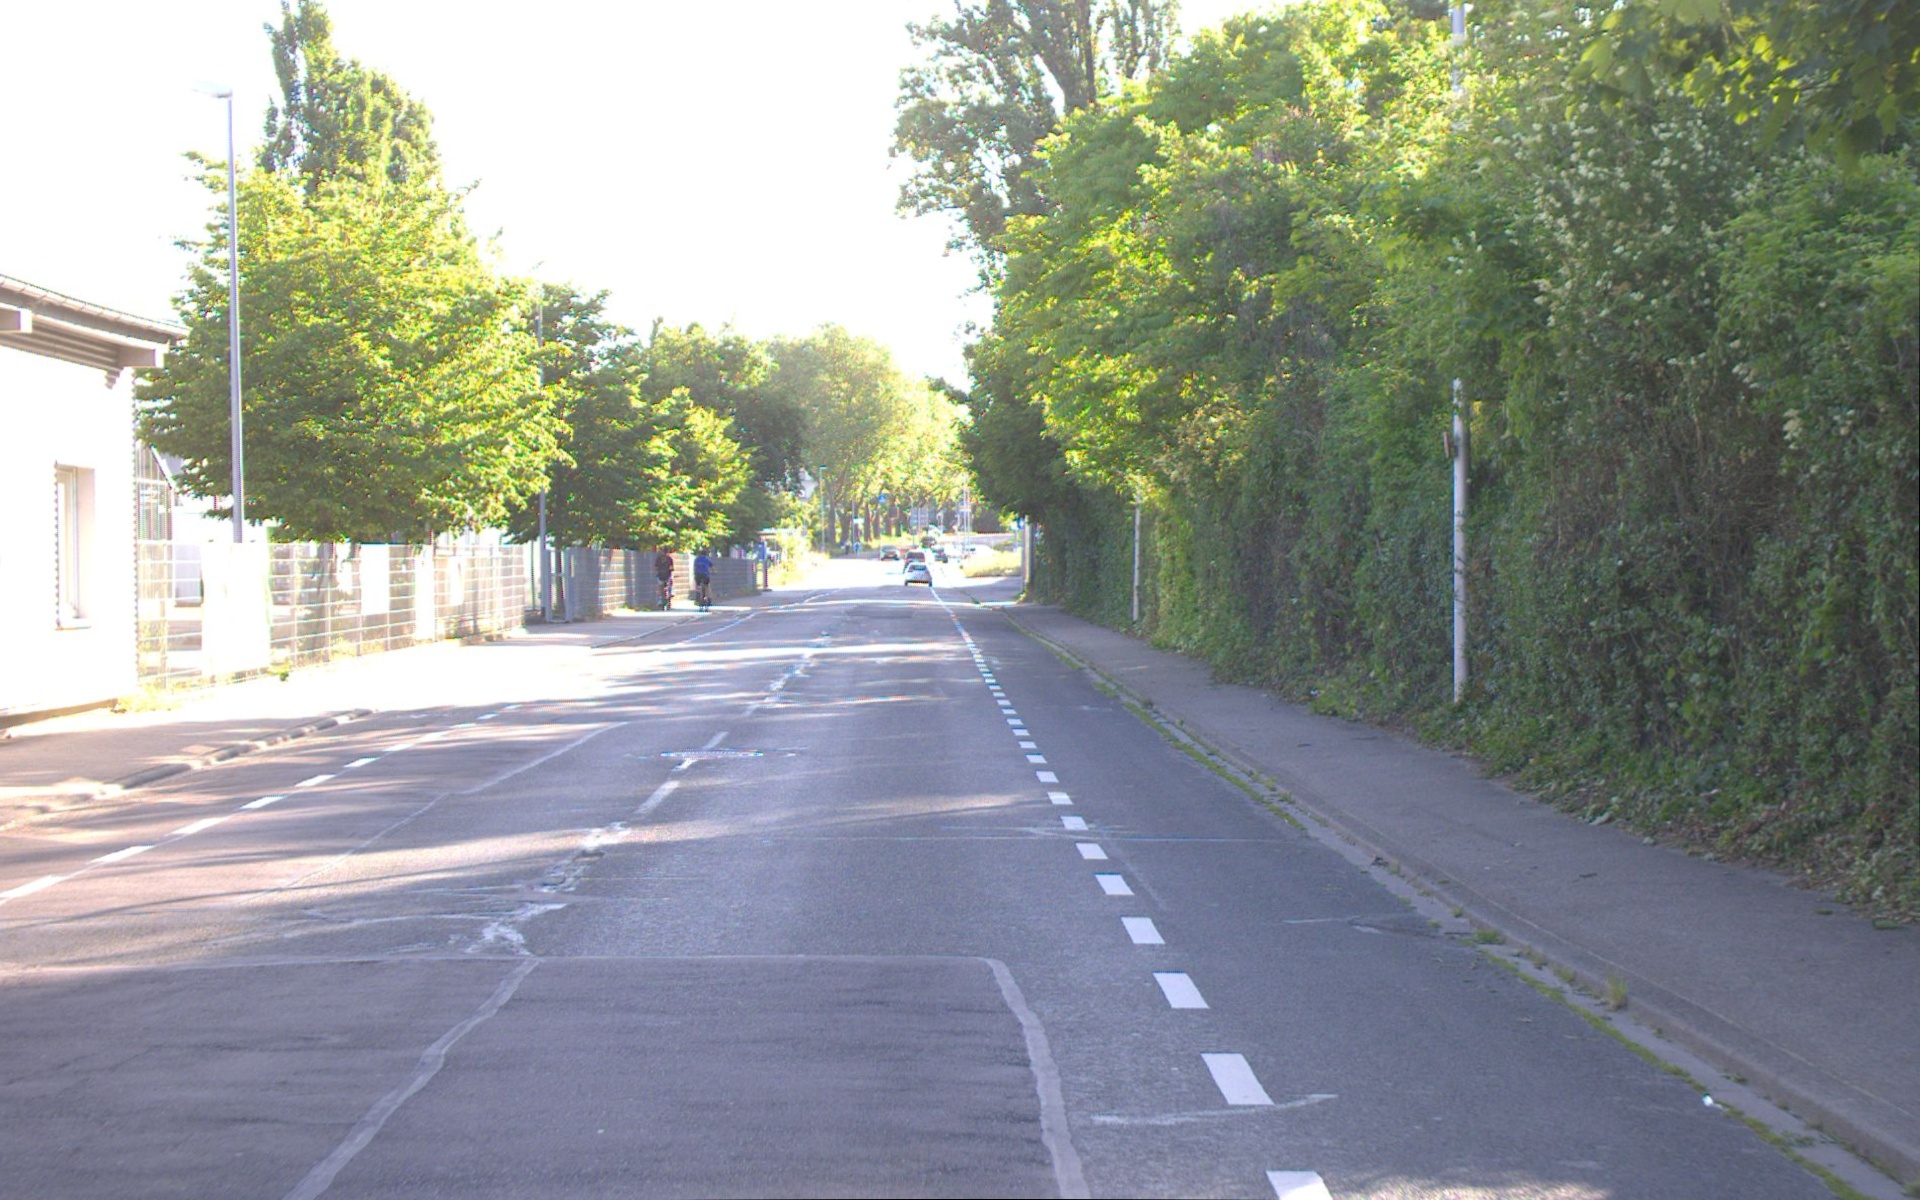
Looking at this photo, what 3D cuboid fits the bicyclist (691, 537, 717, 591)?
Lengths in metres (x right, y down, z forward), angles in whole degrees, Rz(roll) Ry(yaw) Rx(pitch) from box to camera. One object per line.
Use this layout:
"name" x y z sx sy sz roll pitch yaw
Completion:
"bicyclist" -7.374 -1.046 99.005 0.689 1.526 0.722 0 1 -1

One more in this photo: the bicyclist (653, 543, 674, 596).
"bicyclist" -8.618 -0.887 99.841 0.560 1.528 0.689 0 1 -1

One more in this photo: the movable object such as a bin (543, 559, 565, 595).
"movable object such as a bin" -12.373 -0.707 104.764 0.463 1.072 1.570 -1 1 -1

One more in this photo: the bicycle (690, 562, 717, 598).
"bicycle" -7.384 -0.581 99.055 0.689 1.030 1.351 0 1 -1

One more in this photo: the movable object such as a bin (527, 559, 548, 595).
"movable object such as a bin" -12.889 -0.694 104.940 0.463 1.072 1.570 -1 1 -1

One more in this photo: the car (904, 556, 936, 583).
"car" -2.513 -1.920 215.949 1.942 1.645 4.310 0 1 -1

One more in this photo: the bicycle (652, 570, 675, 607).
"bicycle" -8.629 -0.344 99.931 0.563 1.030 1.351 0 1 -1
